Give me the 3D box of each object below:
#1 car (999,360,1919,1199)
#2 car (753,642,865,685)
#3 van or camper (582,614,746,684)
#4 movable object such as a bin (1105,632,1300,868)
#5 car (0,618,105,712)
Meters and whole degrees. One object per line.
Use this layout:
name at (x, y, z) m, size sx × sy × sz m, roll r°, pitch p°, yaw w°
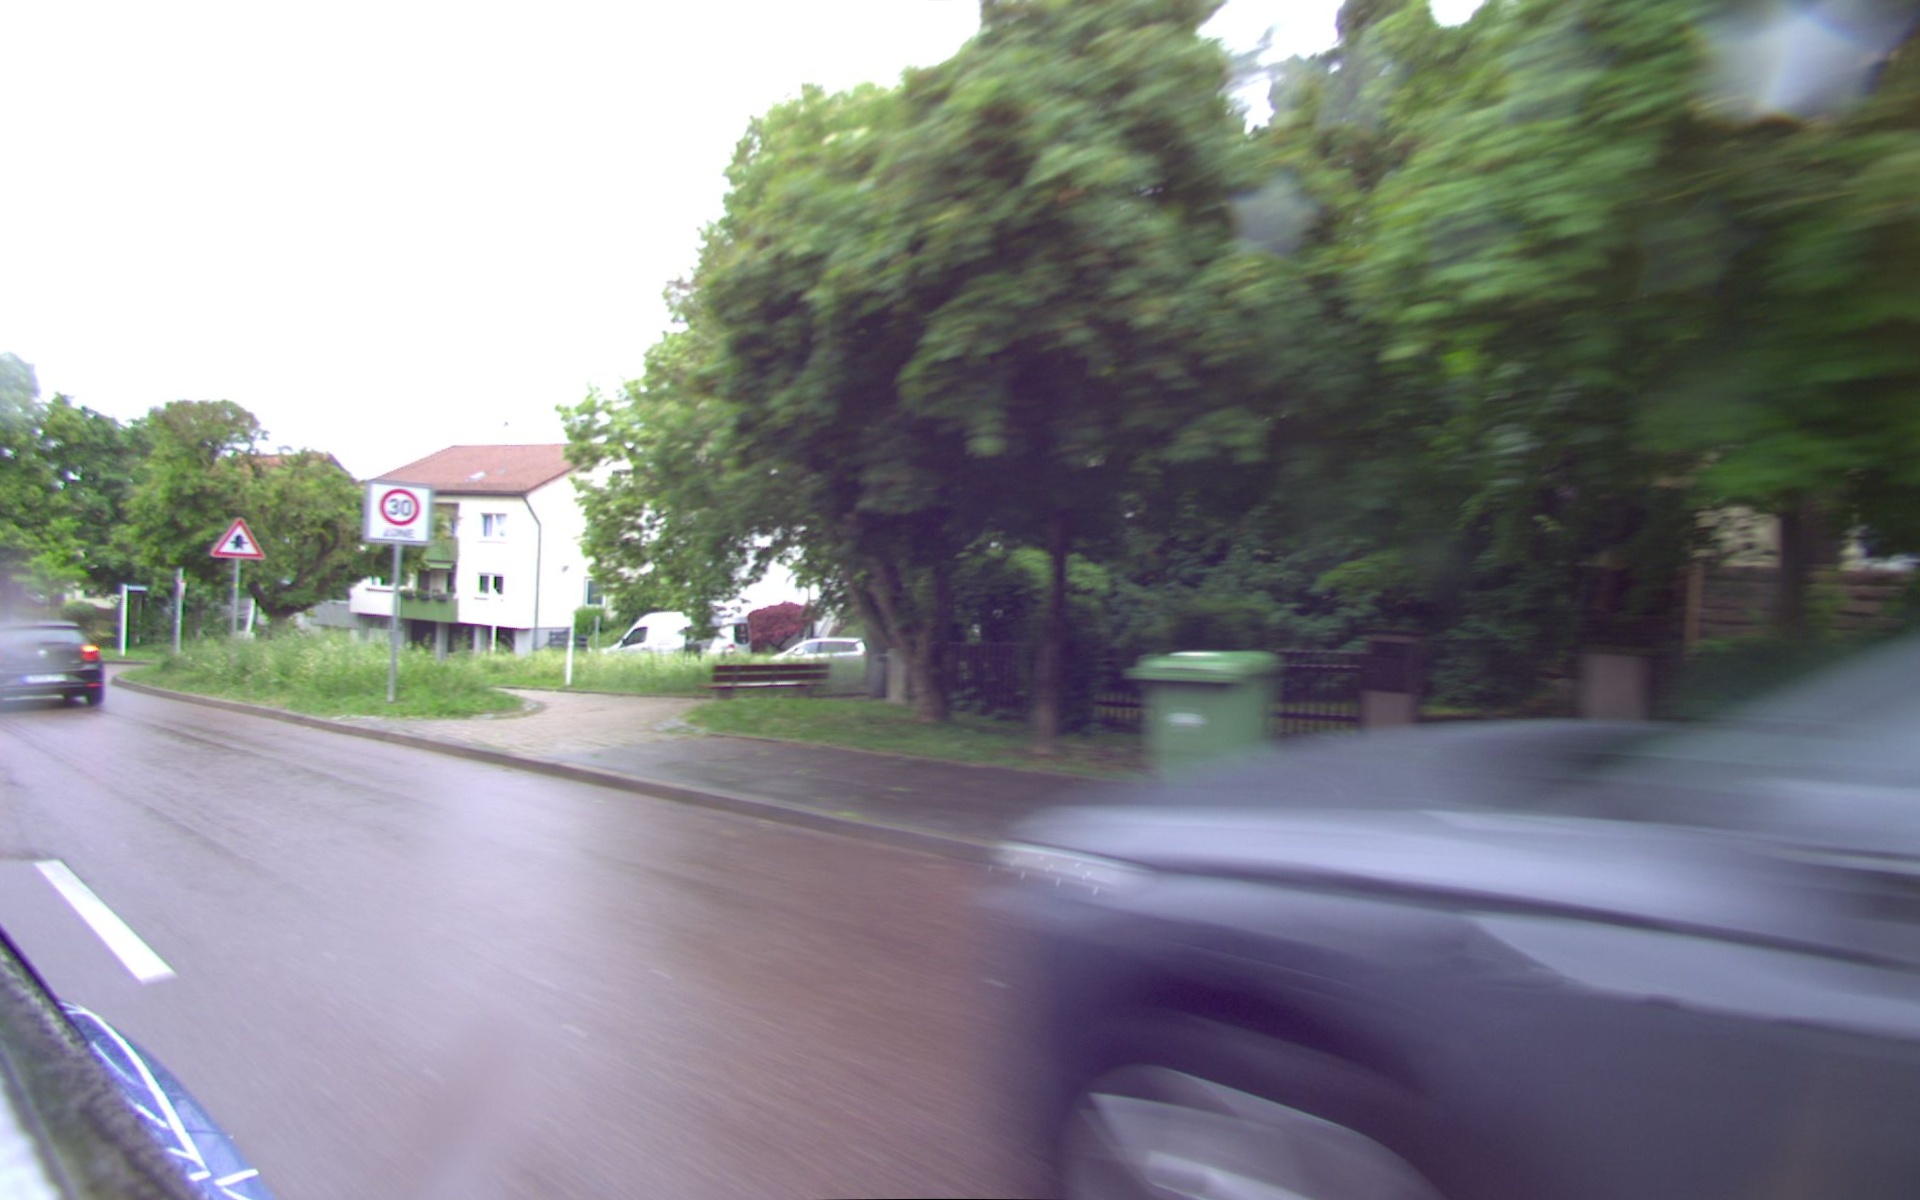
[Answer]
car at (2.352, 0.539, 1.273) m, size 4.359 × 1.636 × 1.899 m, roll -1°, pitch -1°, yaw 40°
car at (-5.722, 2.397, 38.512) m, size 3.989 × 1.560 × 1.557 m, roll 0°, pitch -1°, yaw 6°
van or camper at (-11.482, 1.880, 39.303) m, size 5.998 × 2.576 × 1.636 m, roll -1°, pitch 1°, yaw 10°
movable object such as a bin at (1.302, 0.744, 5.417) m, size 0.757 × 1.108 × 0.713 m, roll -1°, pitch 0°, yaw 41°
car at (-16.059, 1.048, 17.297) m, size 3.734 × 1.452 × 1.602 m, roll -1°, pitch -1°, yaw 40°
